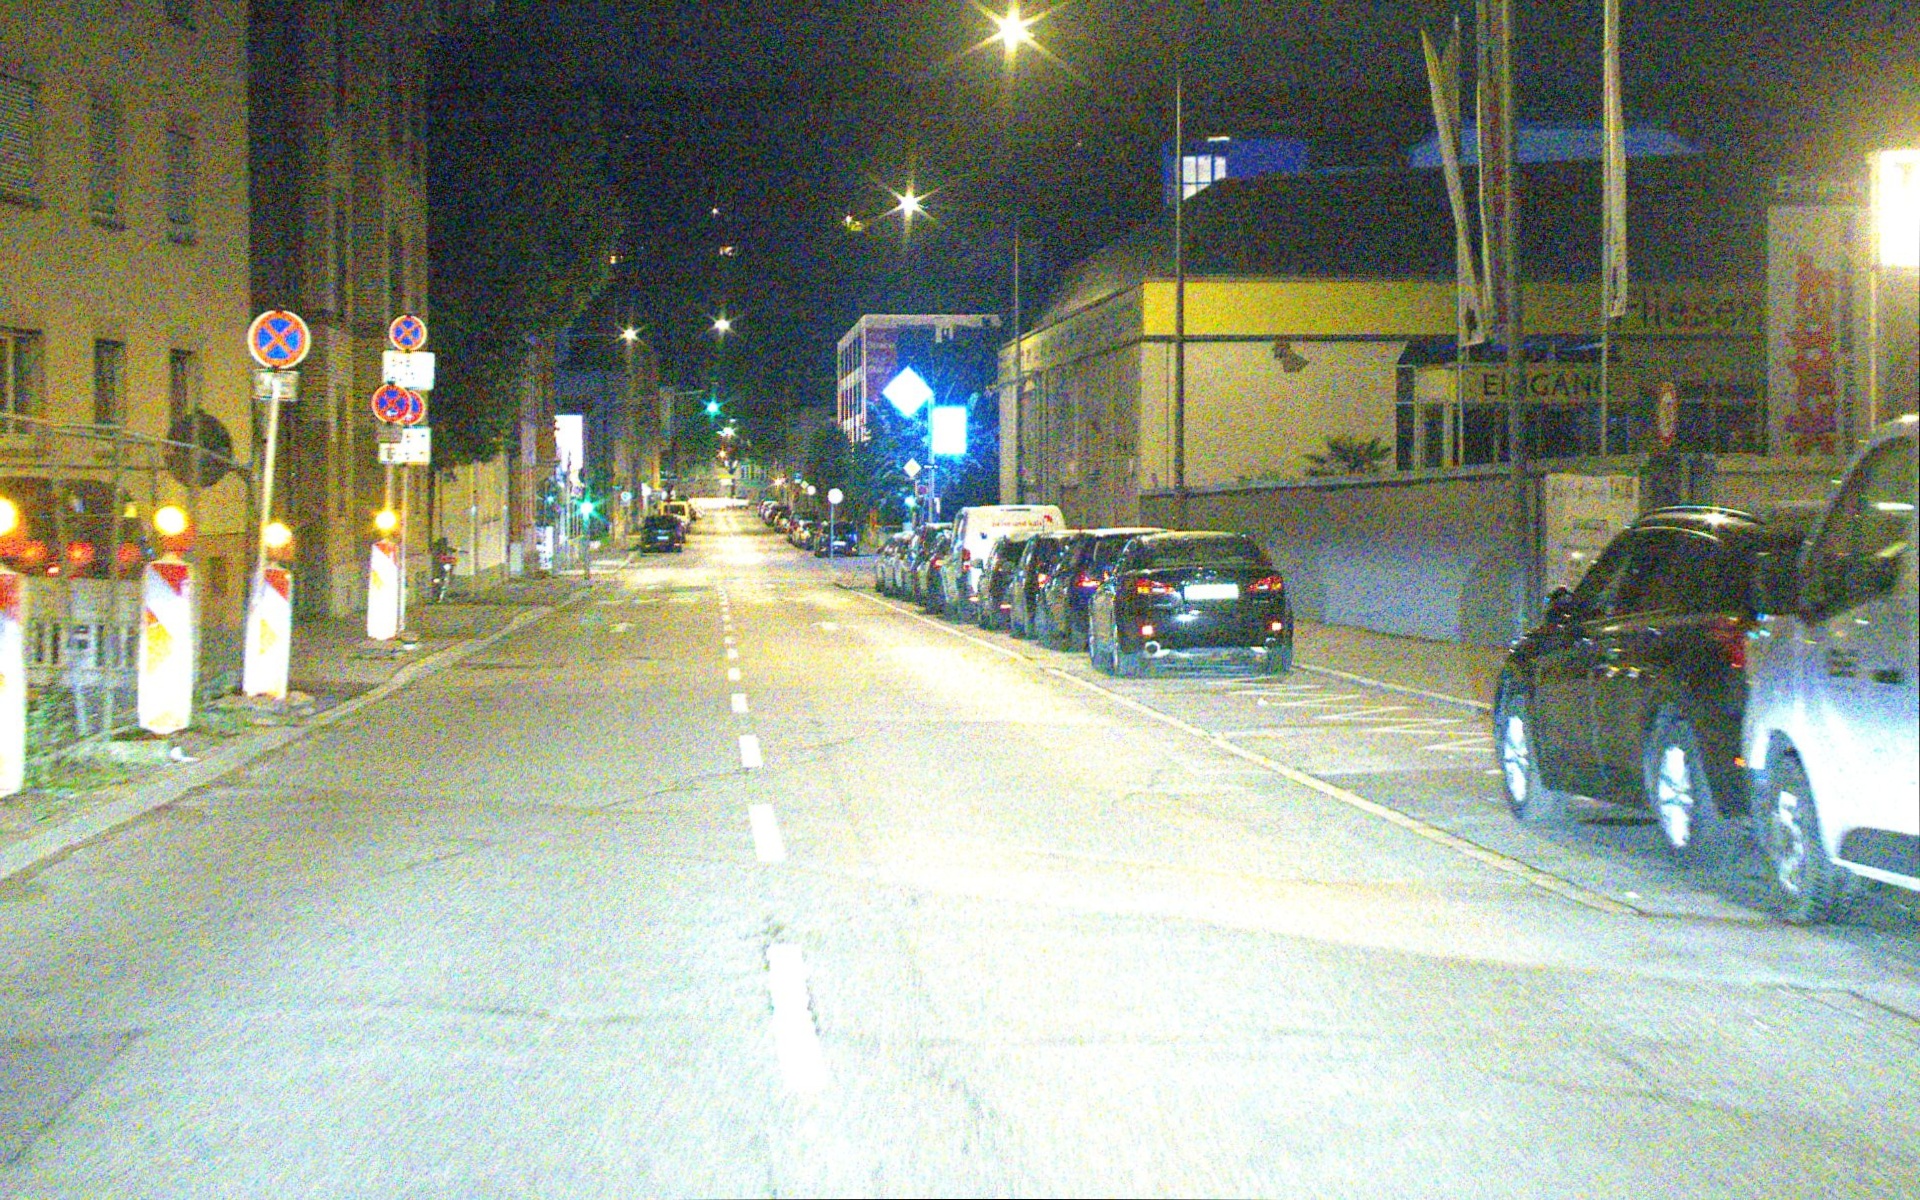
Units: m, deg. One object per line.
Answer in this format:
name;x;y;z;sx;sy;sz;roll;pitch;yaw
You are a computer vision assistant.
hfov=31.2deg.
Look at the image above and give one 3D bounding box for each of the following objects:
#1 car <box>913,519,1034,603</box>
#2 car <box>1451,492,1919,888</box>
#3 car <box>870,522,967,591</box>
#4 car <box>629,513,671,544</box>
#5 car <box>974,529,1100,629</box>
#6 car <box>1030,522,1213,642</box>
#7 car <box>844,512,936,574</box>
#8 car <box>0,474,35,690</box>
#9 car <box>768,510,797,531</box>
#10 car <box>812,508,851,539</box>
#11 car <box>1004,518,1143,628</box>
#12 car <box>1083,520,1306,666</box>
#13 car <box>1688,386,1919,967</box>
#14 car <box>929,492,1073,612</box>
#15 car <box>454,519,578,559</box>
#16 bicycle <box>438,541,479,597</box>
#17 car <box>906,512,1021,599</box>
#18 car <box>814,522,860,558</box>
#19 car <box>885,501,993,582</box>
car;0.206;-0.735;62.696;1.816;1.422;4.190;-2;2;-5
car;3.802;0.319;16.450;1.819;1.593;4.221;-3;1;-6
car;-0.973;-1.008;78.714;1.774;1.539;4.547;0;1;-6
car;-15.402;-3.554;170.758;1.993;1.497;4.001;0;1;-4
car;1.130;-0.334;52.244;1.595;1.462;3.892;0;1;-3
car;1.954;-0.248;42.645;1.778;1.422;3.892;0;1;-5
car;-1.762;-1.400;84.948;1.859;1.484;4.547;0;1;-6
car;-10.358;-0.163;30.001;3.988;1.882;1.908;0;1;9
car;-12.814;-5.715;248.252;1.993;1.515;4.001;0;1;-2
car;-6.601;-3.909;176.057;1.993;1.515;4.001;0;1;-2
car;1.537;-0.388;47.721;1.595;1.462;3.719;0;1;-3
car;2.373;-0.107;35.779;1.778;1.422;4.481;0;1;-3
car;4.203;0.229;11.289;2.072;1.922;5.372;-2;1;-4
car;0.651;-0.843;57.959;1.800;1.868;4.775;-2;2;-6
car;-16.433;-2.251;127.381;4.438;1.444;2.000;0;1;-4
bicycle;-9.428;-0.591;64.659;0.619;1.048;1.722;0;1;-3
car;0.030;-0.905;67.689;1.823;1.583;4.630;-1;2;-5
car;-5.477;-2.670;152.769;1.993;1.511;4.001;1;2;-2
car;-0.487;-1.271;72.922;1.823;1.617;4.459;-1;2;-6
